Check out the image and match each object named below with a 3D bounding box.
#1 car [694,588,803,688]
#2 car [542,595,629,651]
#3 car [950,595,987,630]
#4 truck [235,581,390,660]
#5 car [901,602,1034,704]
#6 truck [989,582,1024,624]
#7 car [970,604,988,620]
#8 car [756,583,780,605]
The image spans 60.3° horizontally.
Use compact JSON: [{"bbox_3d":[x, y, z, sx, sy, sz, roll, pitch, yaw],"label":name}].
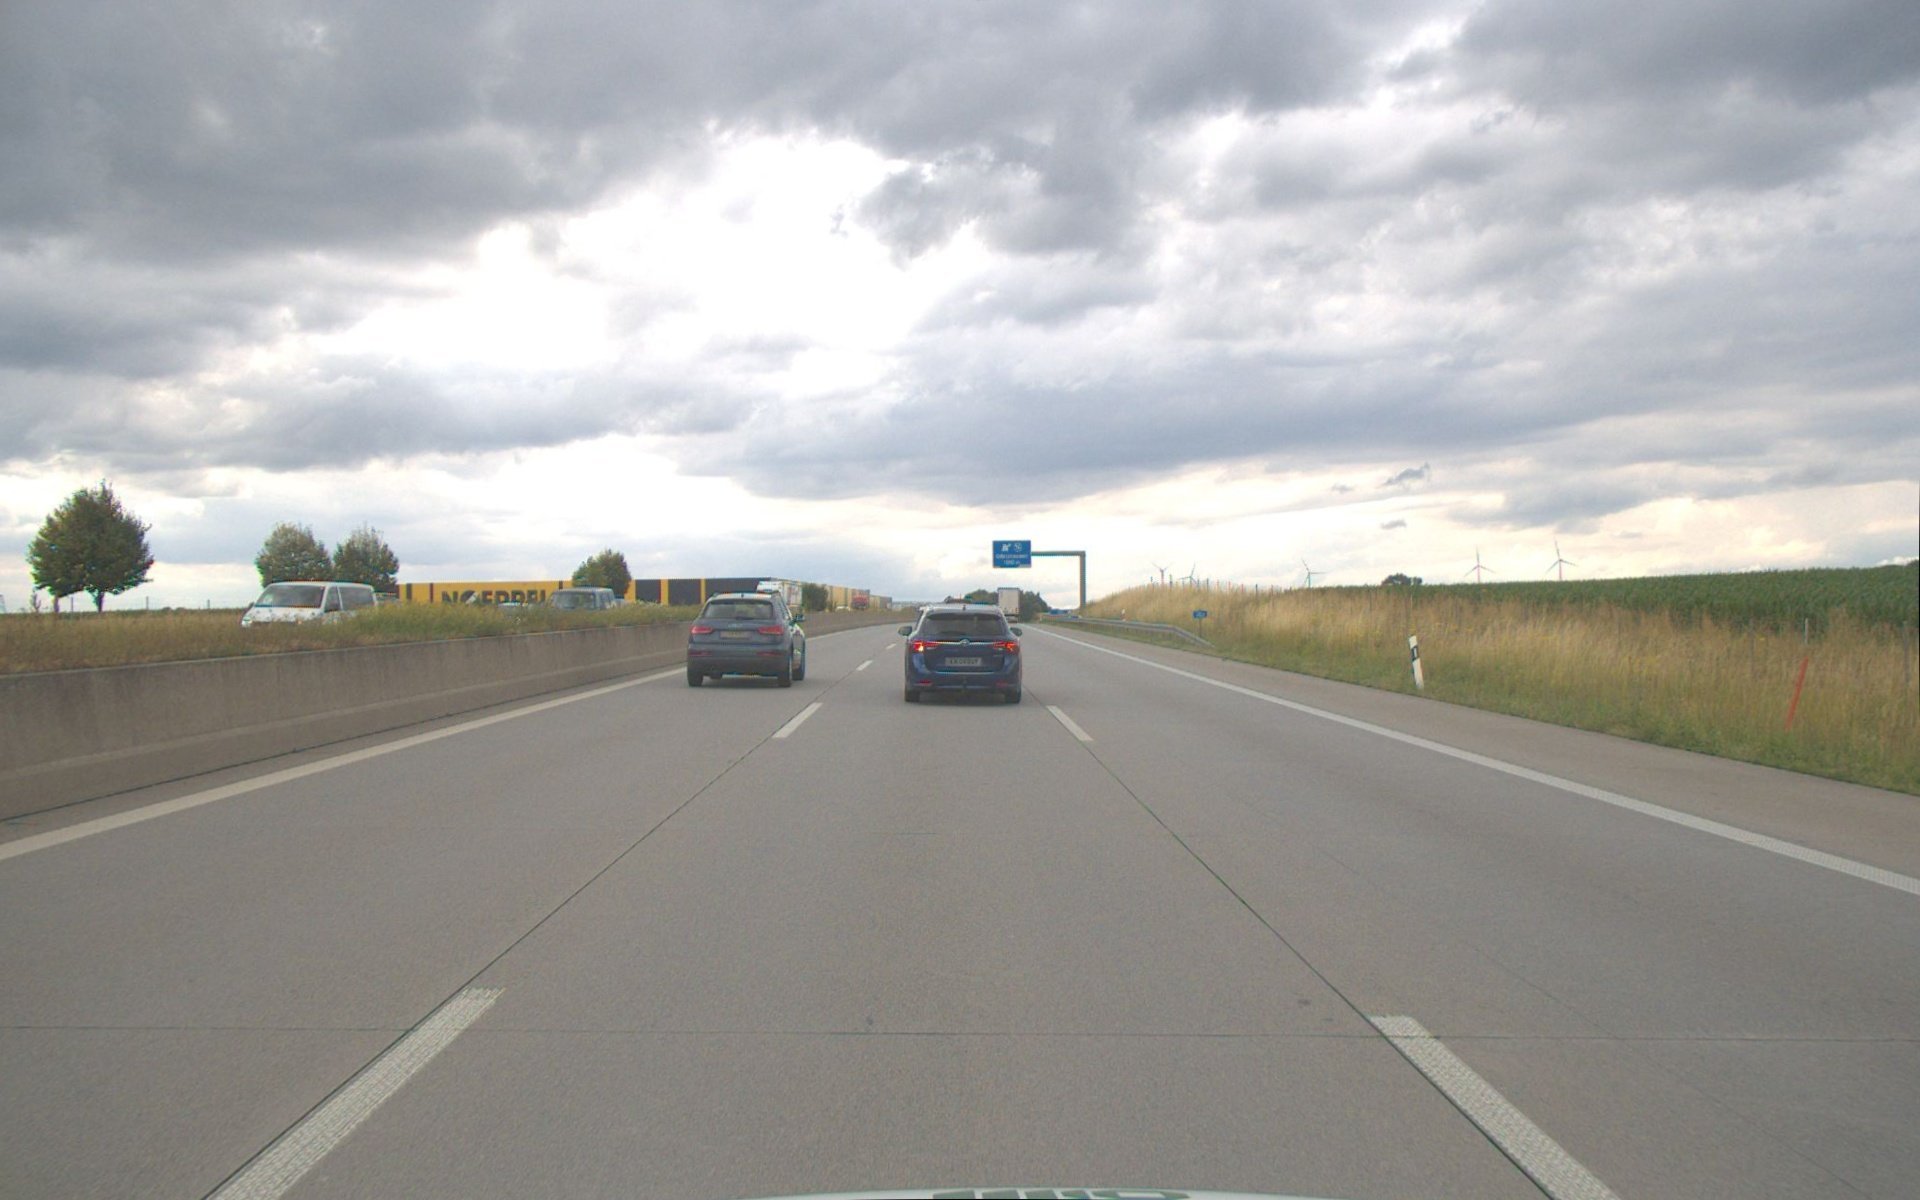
[{"bbox_3d":[-3.755,0.628,29.959,1.758,1.624,5.150,1,0,-6],"label":"car"},{"bbox_3d":[-12.340,0.773,54.797,1.953,1.758,4.108,1,-1,-1],"label":"car"},{"bbox_3d":[0.506,0.764,99.520,1.954,2.049,3.997,1,-1,-3],"label":"car"},{"bbox_3d":[-16.276,0.530,41.878,1.907,1.837,5.125,1,-1,-1],"label":"truck"},{"bbox_3d":[0.039,0.764,25.530,1.740,1.438,3.996,1,0,-4],"label":"car"},{"bbox_3d":[5.516,0.394,198.148,3.869,4.839,12.075,1,-1,0],"label":"truck"},{"bbox_3d":[2.488,1.620,216.635,1.954,2.049,3.996,1,-1,-4],"label":"car"},{"bbox_3d":[-19.356,-0.578,166.598,1.953,2.049,3.999,1,-1,-1],"label":"car"}]
